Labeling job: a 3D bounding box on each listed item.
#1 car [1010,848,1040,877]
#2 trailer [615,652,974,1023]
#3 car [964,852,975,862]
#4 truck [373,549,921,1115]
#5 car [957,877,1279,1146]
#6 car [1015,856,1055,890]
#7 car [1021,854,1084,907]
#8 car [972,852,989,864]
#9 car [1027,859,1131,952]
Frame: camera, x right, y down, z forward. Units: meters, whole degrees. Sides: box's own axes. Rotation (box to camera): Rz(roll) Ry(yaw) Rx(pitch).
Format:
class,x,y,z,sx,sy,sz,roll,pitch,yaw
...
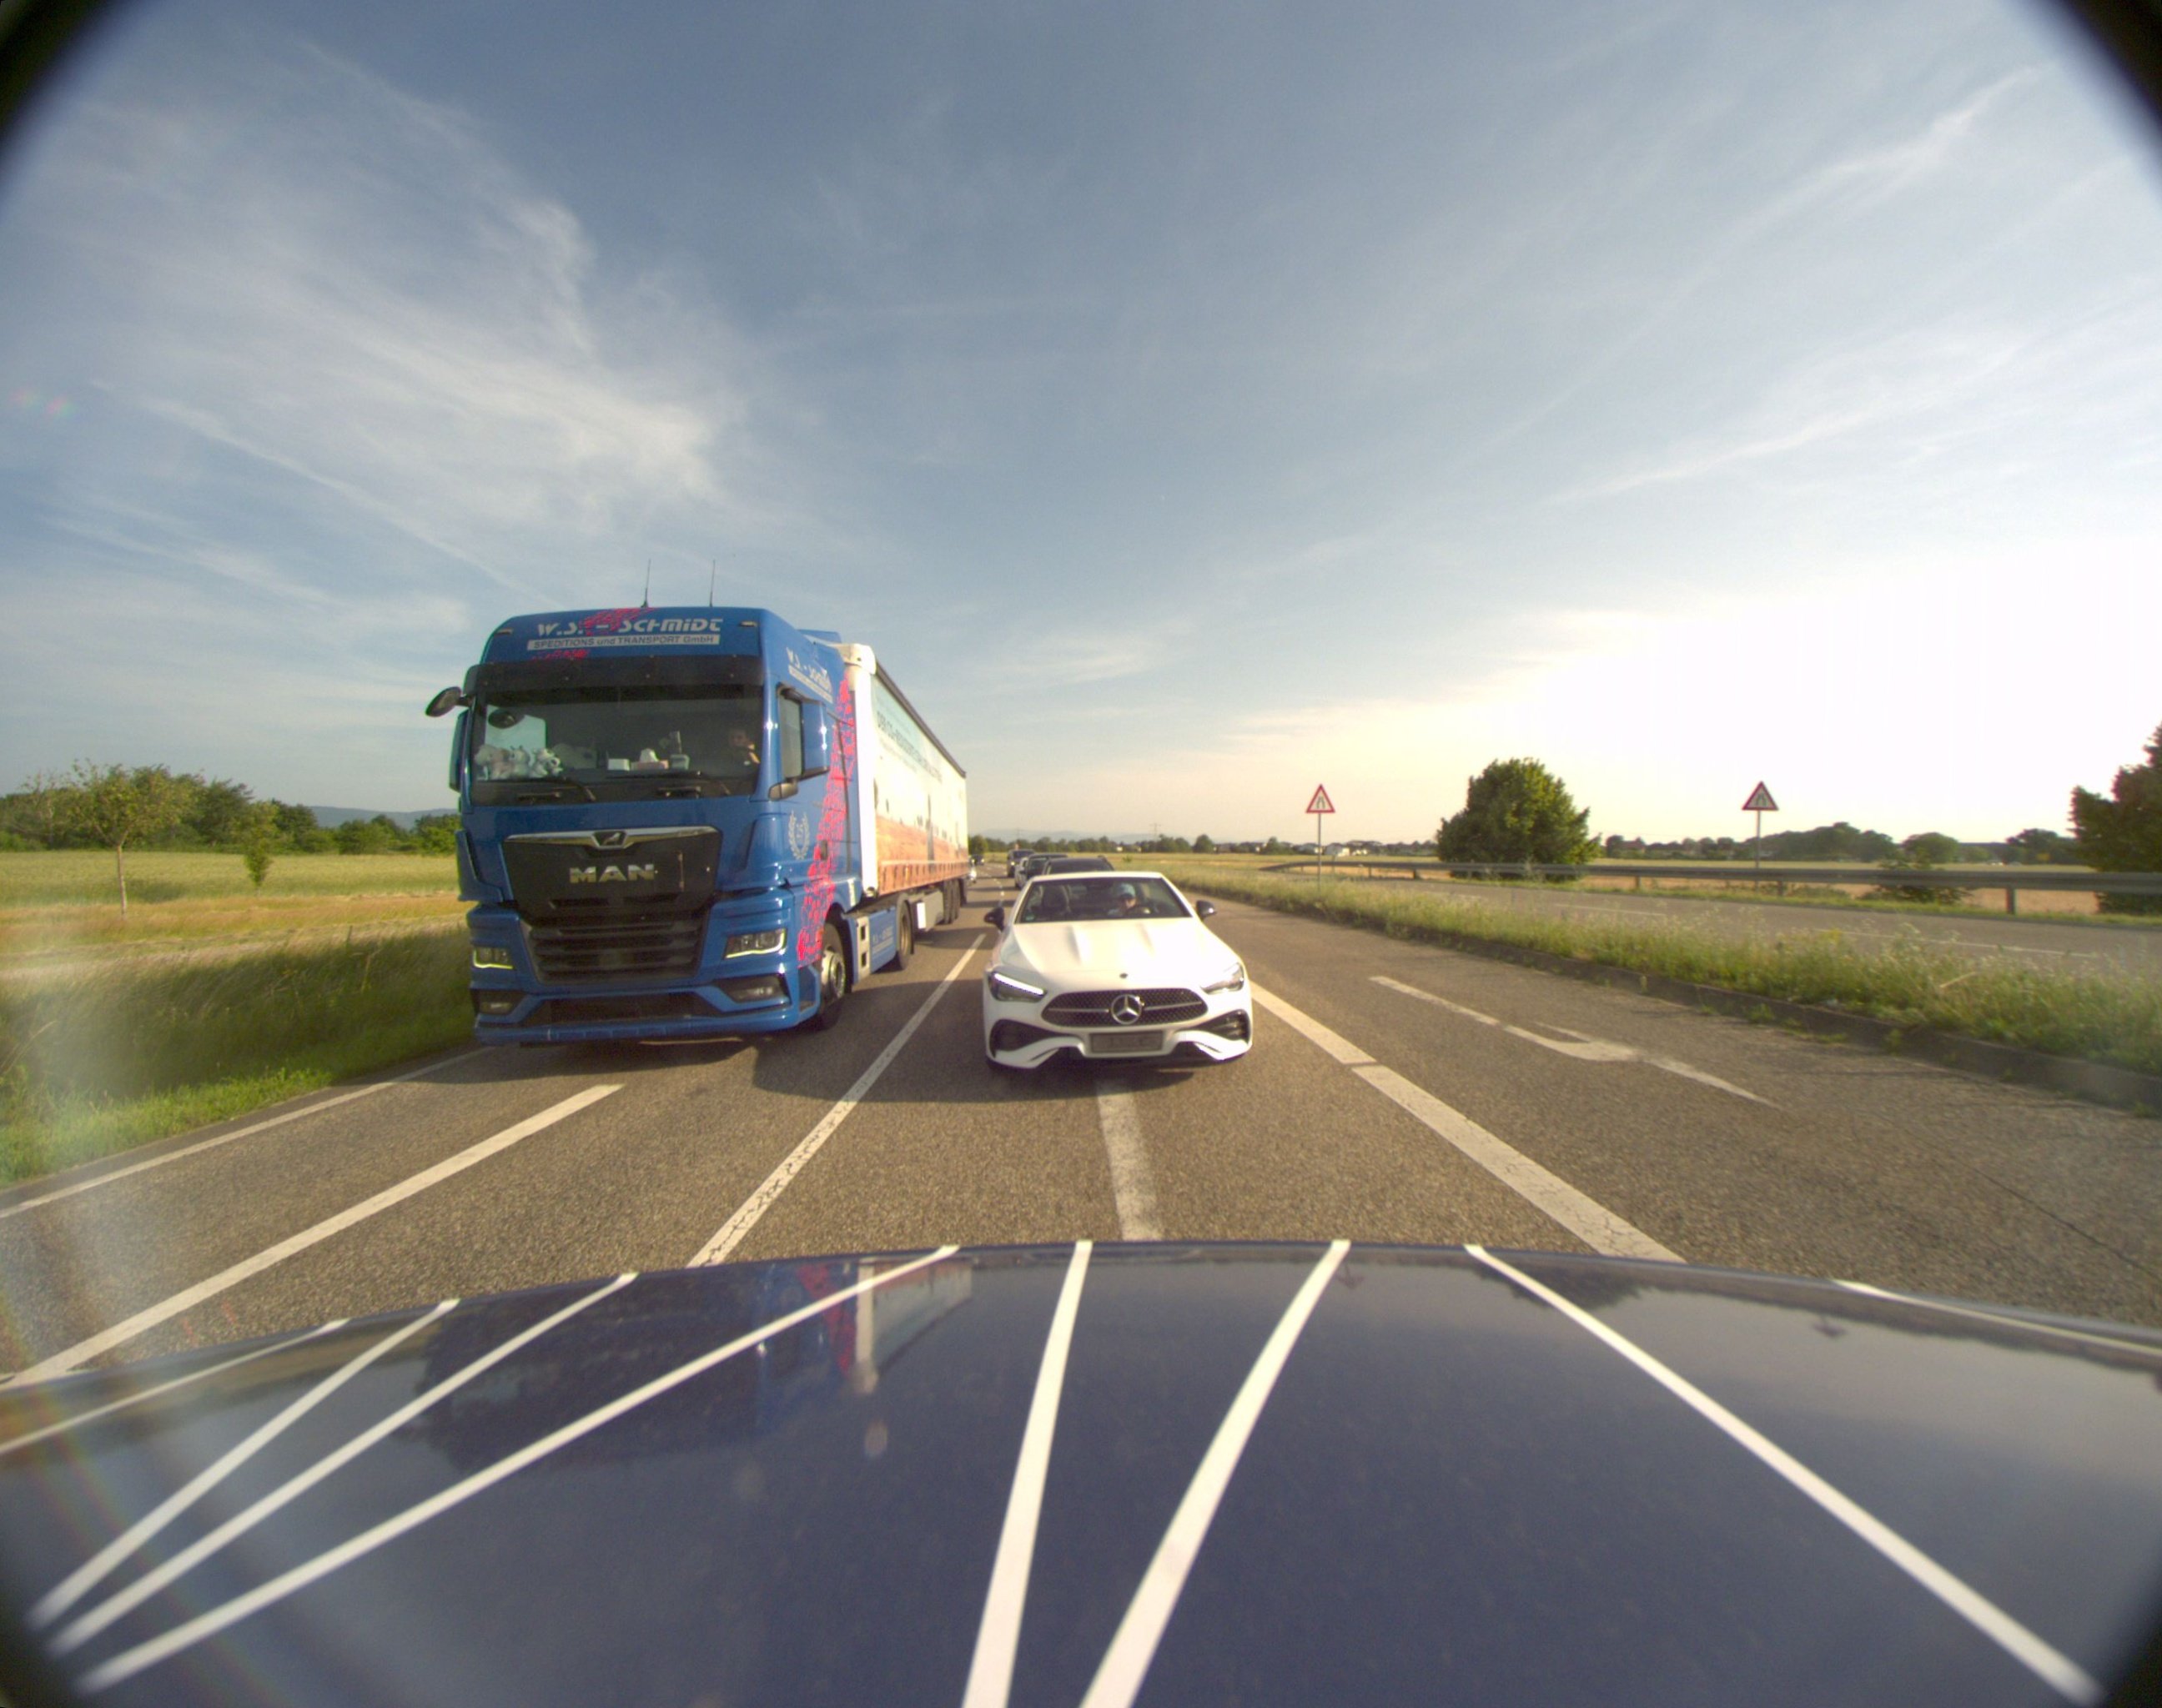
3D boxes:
class,x,y,z,sx,sy,sz,roll,pitch,yaw
car,-3.859,0.531,51.532,1.832,1.830,3.997,-1,0,-7
trailer,-4.075,-0.225,15.251,2.652,3.955,13.925,-2,0,-4
car,-18.725,0.518,127.235,1.755,1.608,3.809,-1,0,-9
truck,-3.652,-0.184,8.335,2.652,3.897,5.948,-2,1,-3
car,0.175,0.991,6.575,1.876,1.390,4.203,-1,0,-1
car,-2.150,0.828,34.727,1.695,1.406,3.998,-1,0,-5
car,-1.006,0.793,24.582,1.831,1.521,3.998,-1,0,-5
car,-13.583,0.478,102.889,2.000,1.525,3.996,-1,0,-12
car,-0.163,0.899,15.050,1.752,1.521,3.998,-1,0,-4
